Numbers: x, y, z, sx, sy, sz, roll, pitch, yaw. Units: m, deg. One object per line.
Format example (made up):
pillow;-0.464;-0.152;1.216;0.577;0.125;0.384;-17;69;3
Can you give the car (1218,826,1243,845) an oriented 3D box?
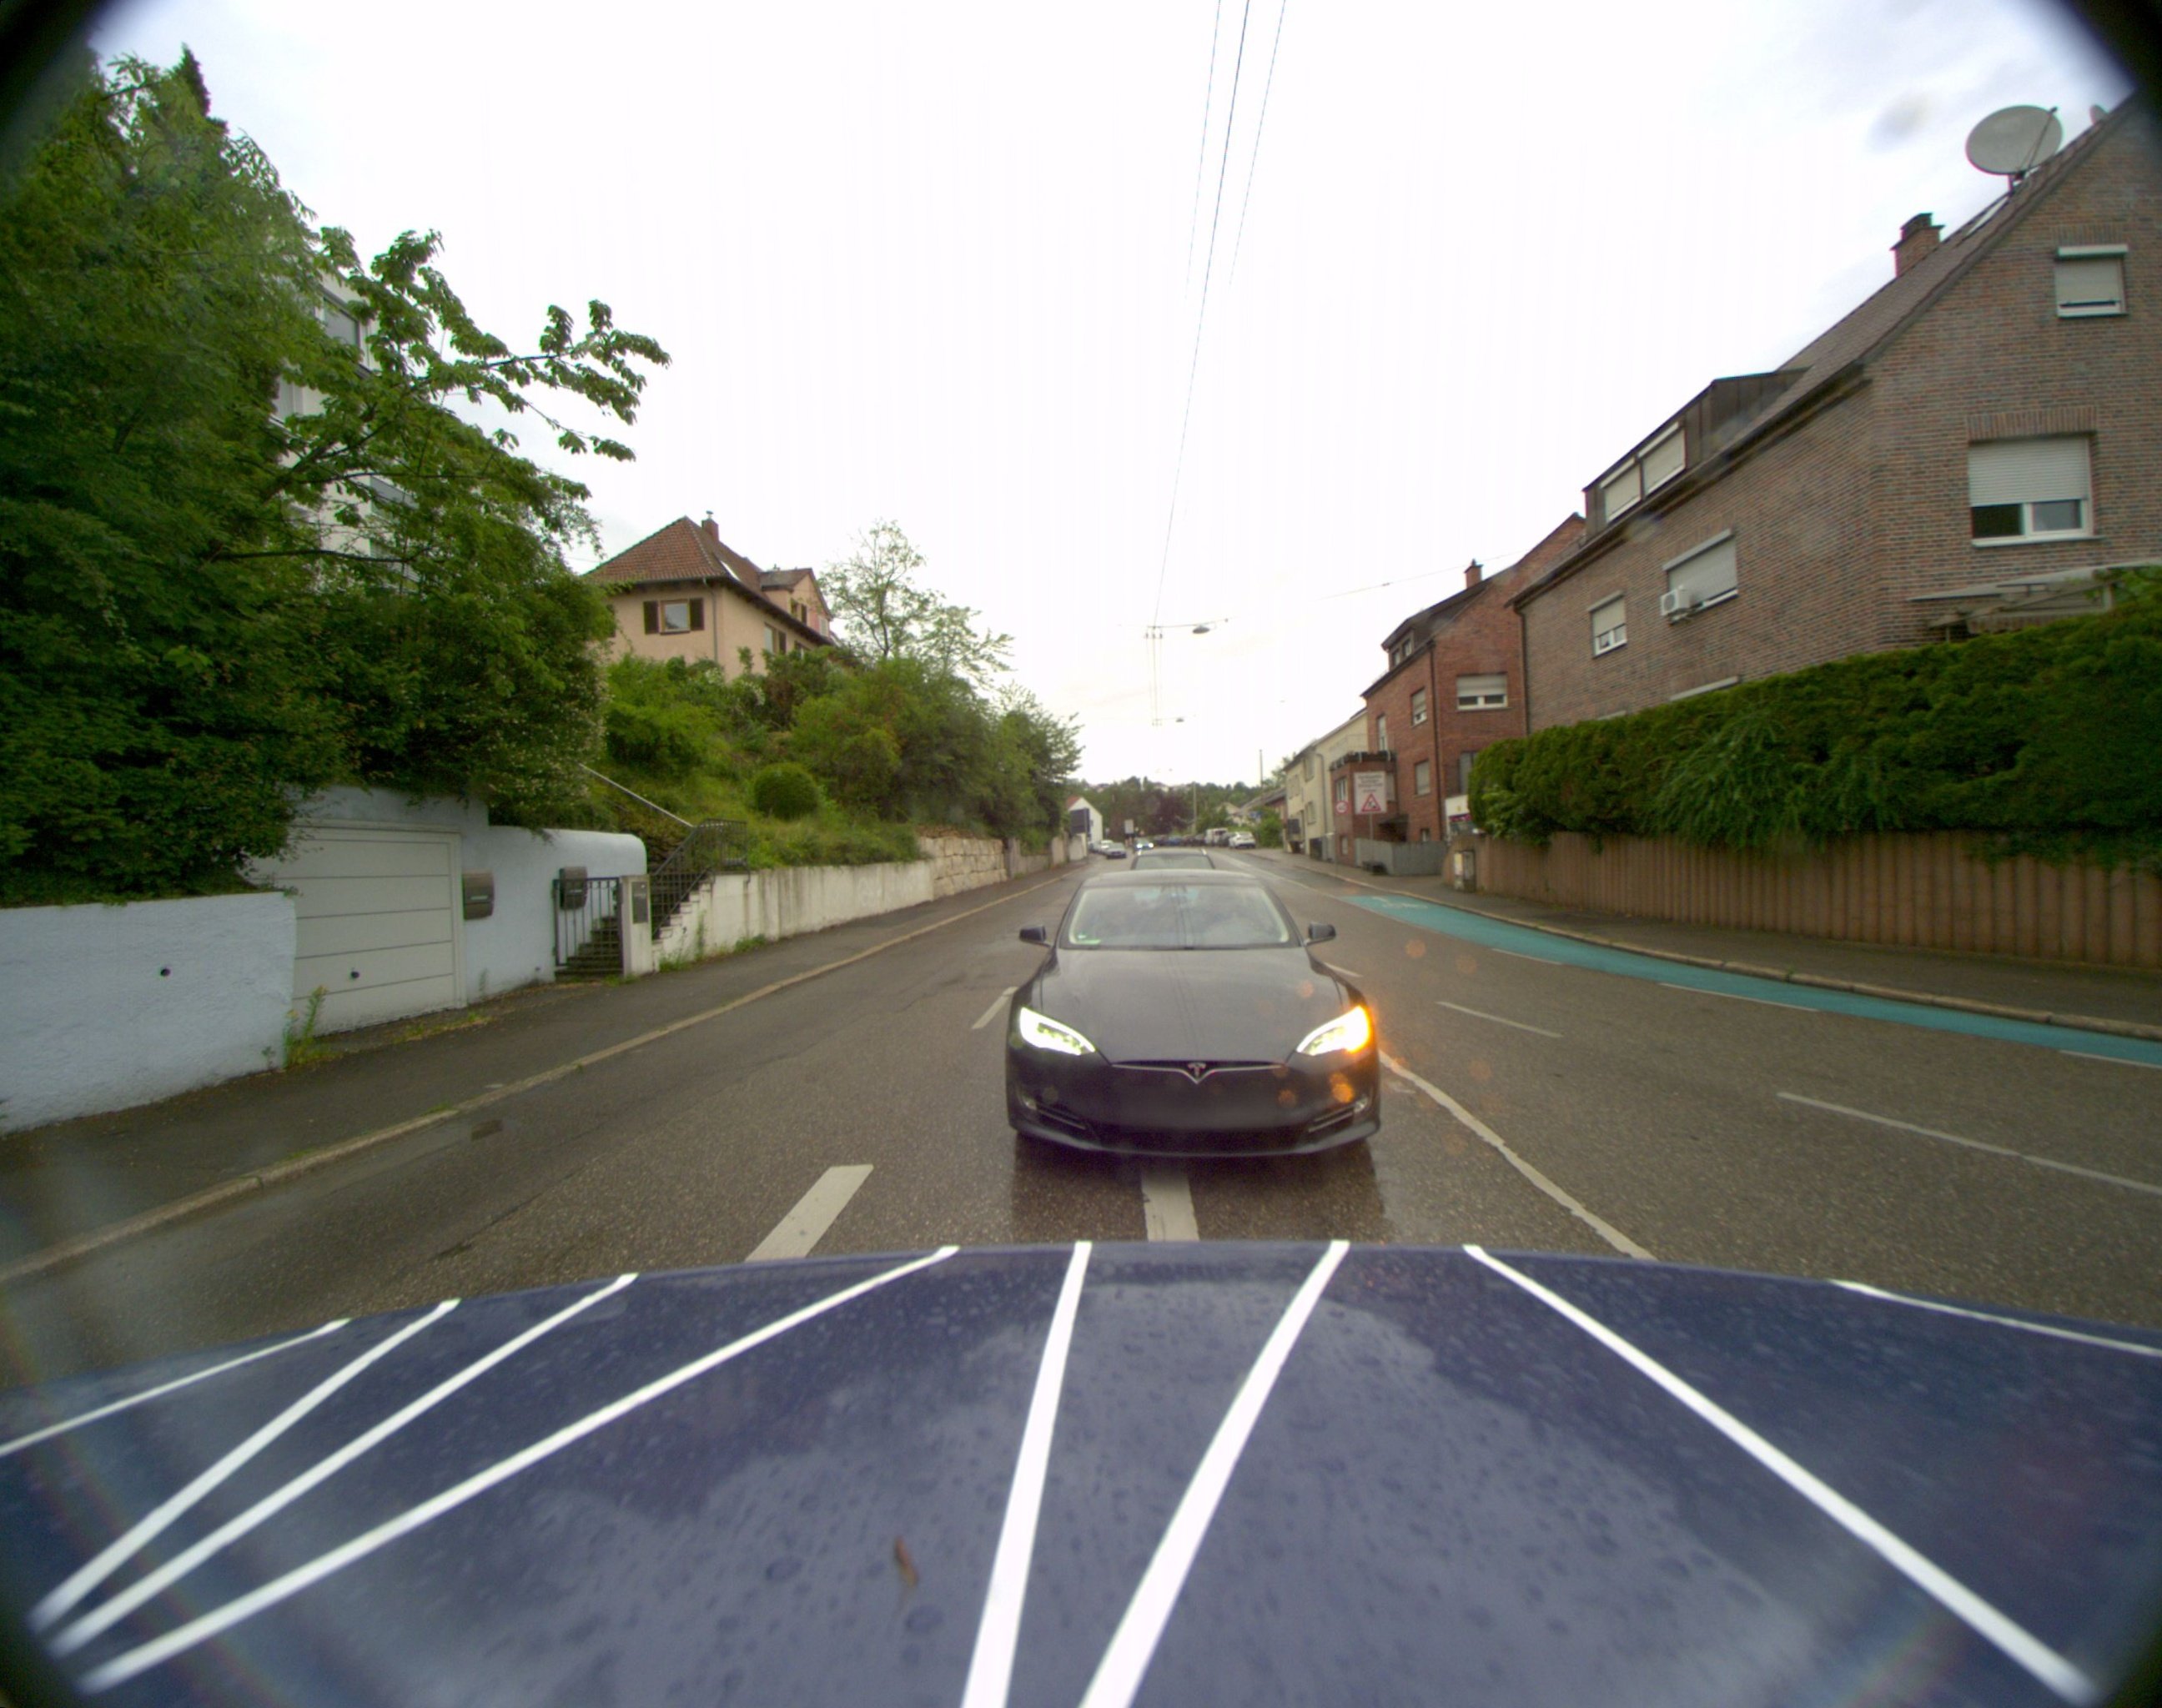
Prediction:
car;15.729;-1.913;80.129;1.814;1.793;4.263;-4;1;2

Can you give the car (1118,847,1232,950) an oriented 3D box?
car;1.654;0.706;14.120;1.789;1.580;3.784;-2;1;4

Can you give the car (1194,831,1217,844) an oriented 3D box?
car;15.016;-1.979;91.528;1.654;1.482;4.009;-4;1;-6

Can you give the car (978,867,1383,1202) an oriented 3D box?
car;0.609;0.907;5.594;1.870;1.407;4.000;-2;1;4

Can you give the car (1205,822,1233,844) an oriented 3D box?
car;15.619;-2.343;86.159;2.257;2.273;4.546;-4;1;0

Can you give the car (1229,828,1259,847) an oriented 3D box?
car;15.359;-1.562;71.981;1.946;1.557;4.263;-4;1;2

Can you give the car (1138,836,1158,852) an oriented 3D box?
car;7.562;-1.106;86.190;1.817;1.720;4.000;-2;-1;0

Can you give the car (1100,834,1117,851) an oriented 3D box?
car;3.188;-1.394;89.051;1.820;1.855;4.038;-2;2;-1

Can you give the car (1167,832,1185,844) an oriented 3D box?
car;12.855;-2.137;102.654;1.624;1.482;3.901;-4;1;-4

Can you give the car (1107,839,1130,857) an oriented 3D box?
car;3.652;-0.586;73.188;2.002;1.596;4.360;-2;-1;4

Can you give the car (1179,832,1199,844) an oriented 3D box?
car;13.846;-2.080;97.436;1.654;1.388;3.859;-4;1;-4
